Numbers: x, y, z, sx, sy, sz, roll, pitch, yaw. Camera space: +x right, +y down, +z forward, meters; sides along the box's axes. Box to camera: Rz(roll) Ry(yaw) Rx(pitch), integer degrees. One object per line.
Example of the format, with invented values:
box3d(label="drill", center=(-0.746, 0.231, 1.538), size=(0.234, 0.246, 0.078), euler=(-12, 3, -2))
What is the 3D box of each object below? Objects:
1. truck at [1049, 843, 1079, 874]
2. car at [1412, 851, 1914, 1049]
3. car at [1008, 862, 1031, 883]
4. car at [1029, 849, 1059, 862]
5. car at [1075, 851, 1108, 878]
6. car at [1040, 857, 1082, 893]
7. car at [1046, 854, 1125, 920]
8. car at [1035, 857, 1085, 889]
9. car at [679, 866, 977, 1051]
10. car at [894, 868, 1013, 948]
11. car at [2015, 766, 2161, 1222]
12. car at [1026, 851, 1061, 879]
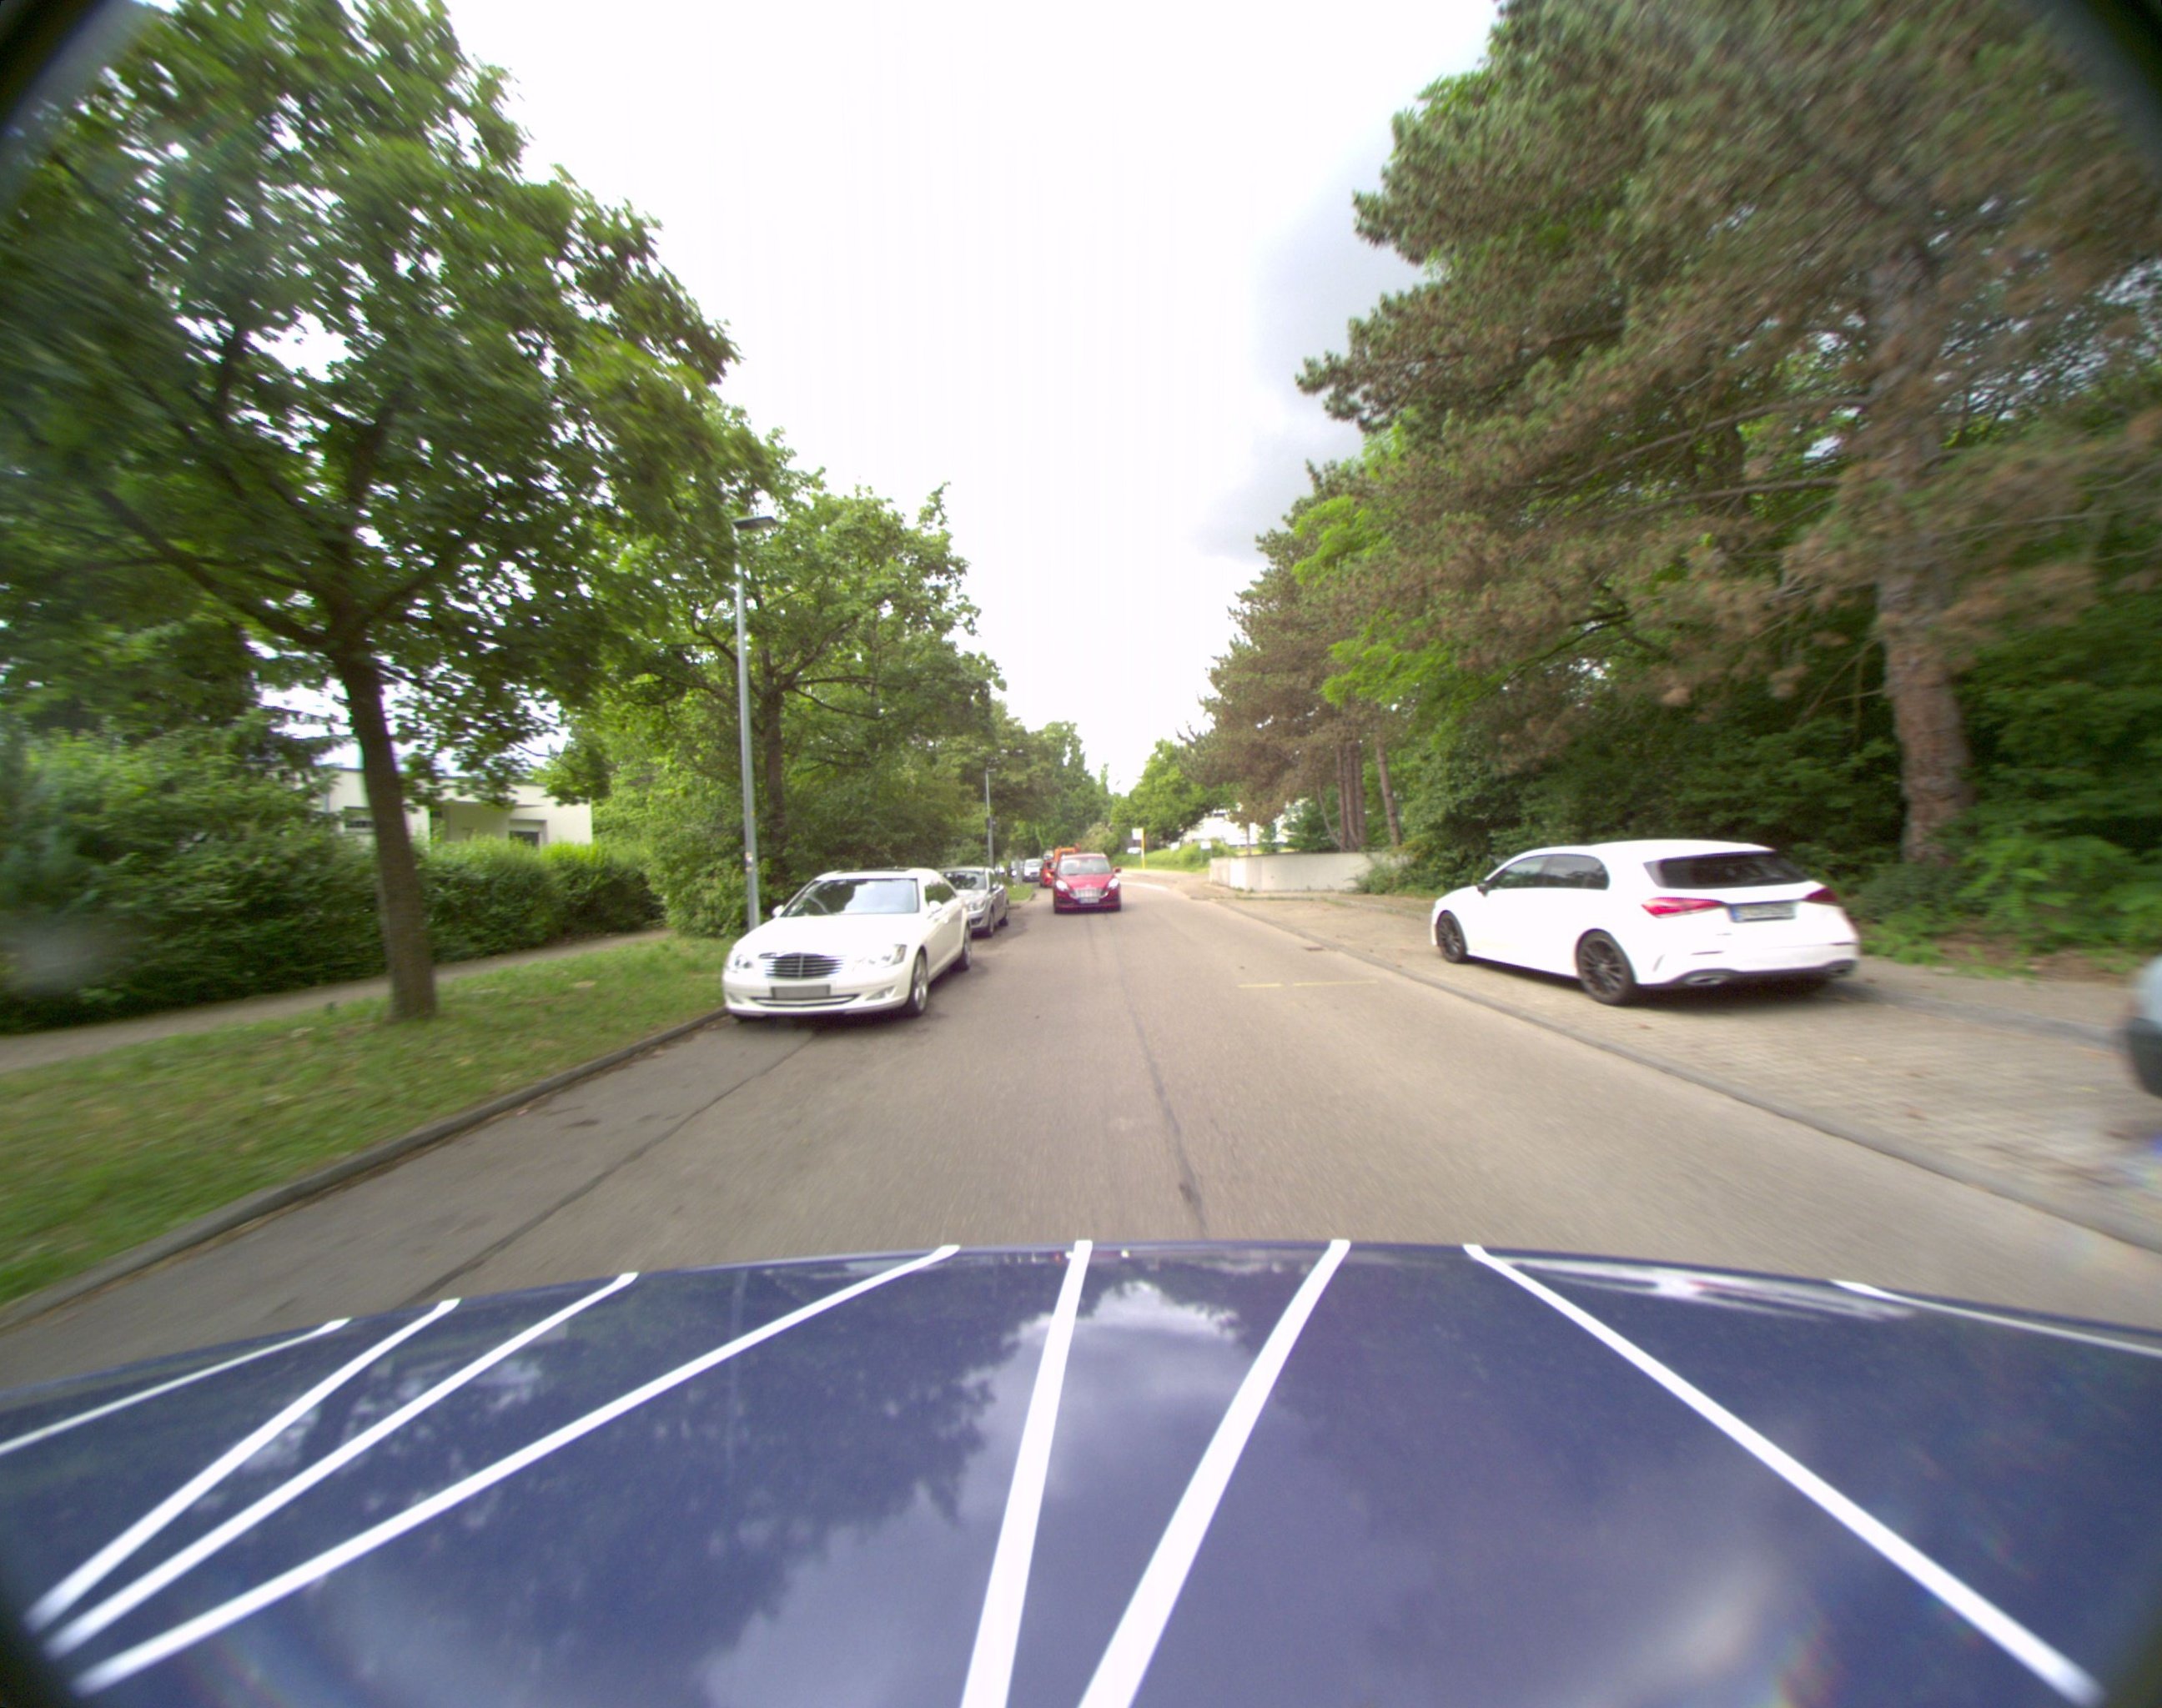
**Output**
box3d(label="truck", center=(-1.476, 0.425, 67.008), size=(2.328, 2.455, 6.020), euler=(-4, 0, -1))
box3d(label="car", center=(5.400, 0.742, 7.985), size=(1.810, 1.394, 4.371), euler=(-4, 0, -1))
box3d(label="car", center=(-5.832, 1.758, 71.829), size=(1.999, 1.663, 3.997), euler=(-4, 1, -6))
box3d(label="car", center=(-5.548, 0.198, 113.278), size=(3.803, 1.629, 2.002), euler=(-4, 2, 25))
box3d(label="car", center=(0.681, 0.707, 53.235), size=(1.999, 1.725, 5.336), euler=(-2, 0, -1))
box3d(label="car", center=(-1.145, 1.086, 40.925), size=(1.999, 1.504, 3.995), euler=(-1, 4, -5))
box3d(label="car", center=(0.246, 0.878, 22.314), size=(1.945, 1.550, 4.356), euler=(-4, 1, 4))
box3d(label="car", center=(-1.212, 0.988, 40.836), size=(1.949, 1.522, 4.082), euler=(-4, 1, -11))
box3d(label="car", center=(-2.584, 0.958, 9.292), size=(1.891, 1.498, 5.175), euler=(-2, 0, 0))
box3d(label="car", center=(-2.629, 1.075, 16.642), size=(1.797, 1.402, 4.059), euler=(-2, 0, 1))
box3d(label="car", center=(5.281, 0.514, 1.518), size=(1.725, 1.910, 4.105), euler=(-4, -1, 2))
box3d(label="car", center=(-2.718, 0.754, 54.124), size=(2.000, 1.684, 3.996), euler=(-4, 1, -8))
